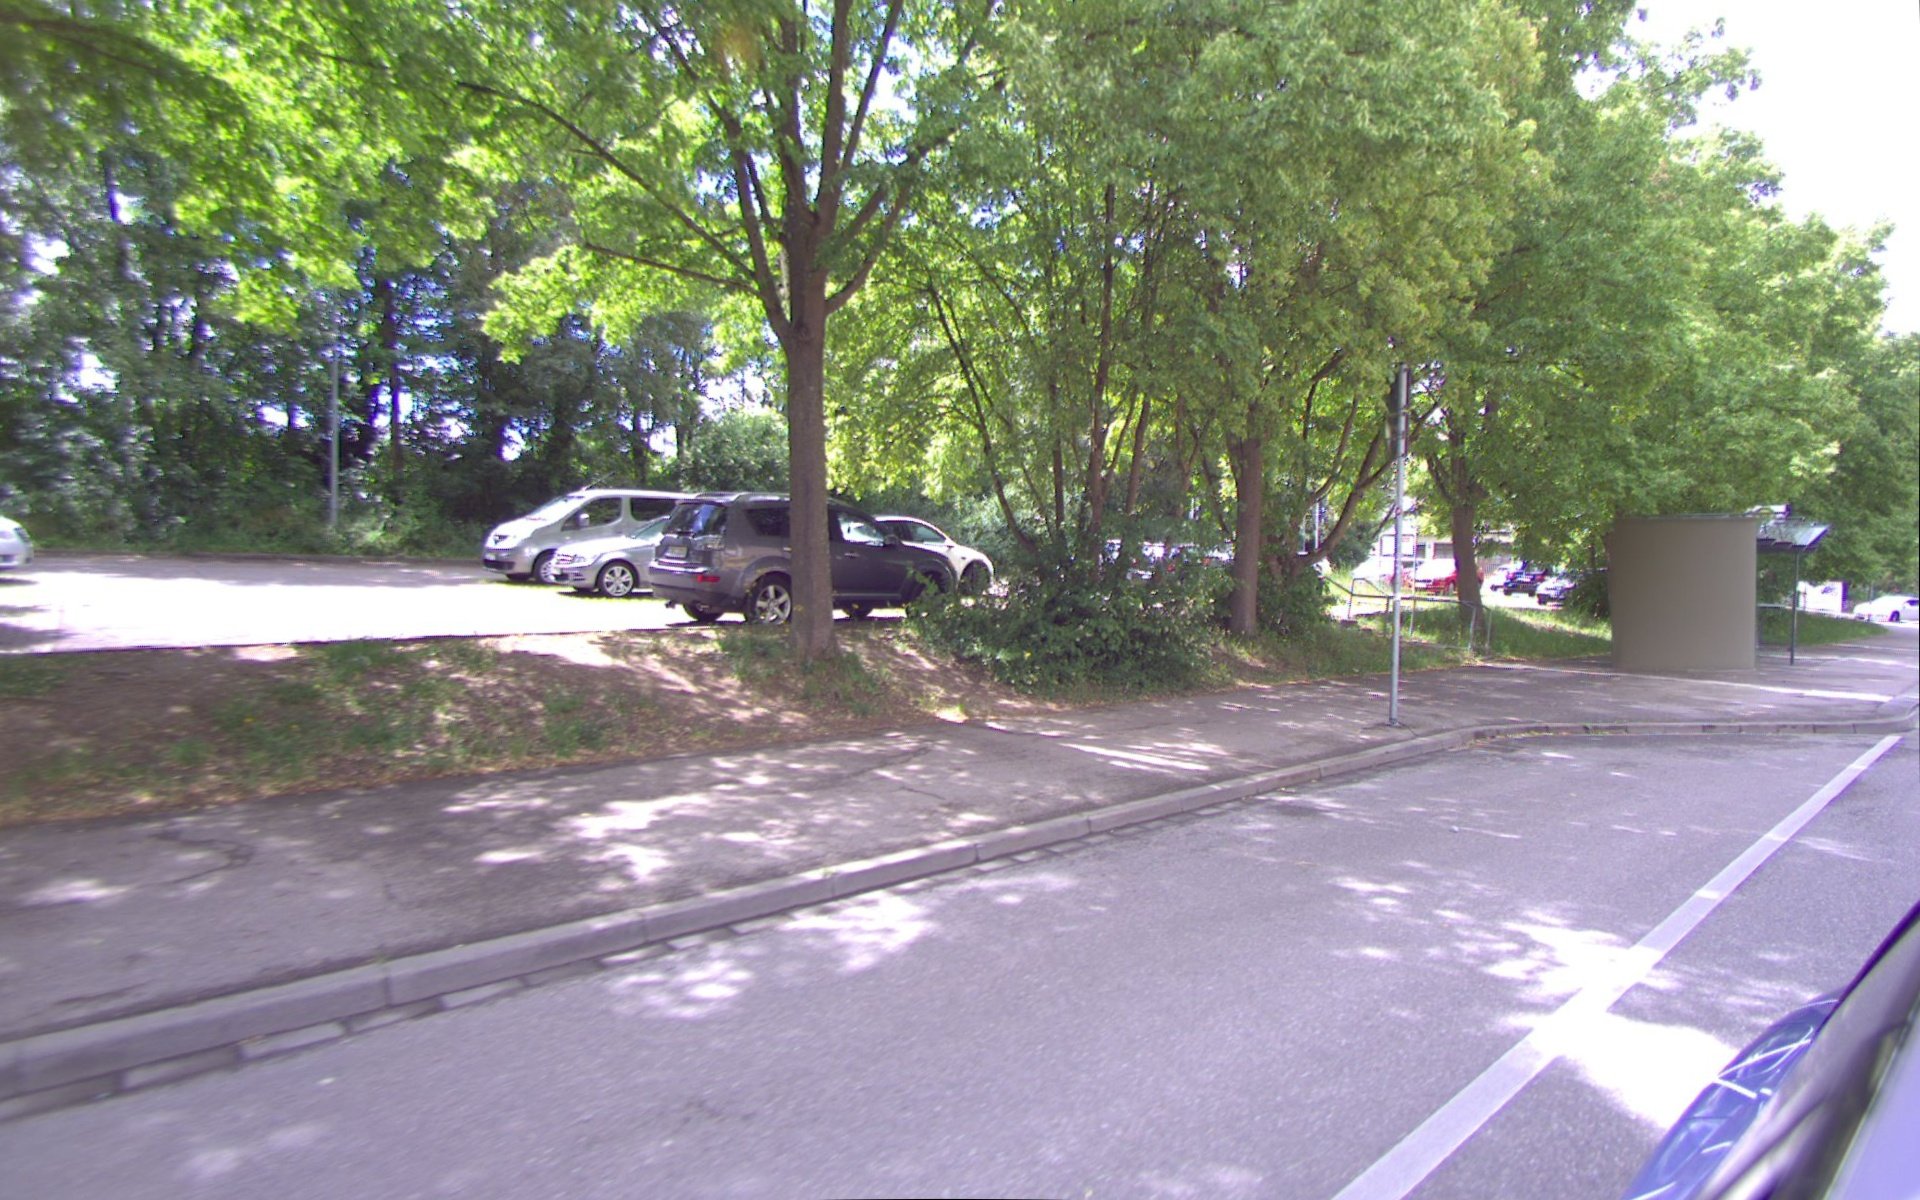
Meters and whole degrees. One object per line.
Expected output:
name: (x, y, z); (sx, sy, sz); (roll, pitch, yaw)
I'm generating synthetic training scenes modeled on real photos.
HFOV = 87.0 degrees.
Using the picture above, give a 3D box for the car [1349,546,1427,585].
car: (18.075, -1.443, 42.688); (3.600, 1.495, 1.634); (0, 4, -42)

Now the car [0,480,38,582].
car: (-14.243, -0.975, 12.944); (3.559, 1.333, 1.791); (0, 5, -41)

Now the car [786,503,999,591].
car: (-1.330, -1.070, 21.118); (4.353, 1.573, 1.474); (1, 5, -40)

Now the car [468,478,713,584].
car: (-7.064, -1.291, 19.582); (4.136, 1.811, 1.616); (0, 5, -42)

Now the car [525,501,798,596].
car: (-5.097, -0.870, 17.651); (4.278, 1.459, 1.616); (0, 5, -42)

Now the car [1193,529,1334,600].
car: (8.186, -0.997, 27.103); (4.192, 1.714, 1.691); (-3, 7, -43)

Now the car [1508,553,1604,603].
car: (20.552, -0.766, 34.835); (4.068, 1.532, 1.630); (0, 5, -42)

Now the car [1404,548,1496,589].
car: (19.889, -1.262, 40.981); (4.467, 1.495, 1.755); (0, 4, -42)

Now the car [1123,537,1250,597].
car: (6.460, -0.986, 28.695); (3.732, 1.509, 1.691); (-3, 7, -43)

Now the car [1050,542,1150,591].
car: (4.144, -1.016, 29.802); (2.813, 1.318, 1.410); (-3, 7, -43)

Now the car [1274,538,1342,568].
car: (17.269, -2.335, 50.132); (3.600, 1.344, 1.634); (0, 4, -42)

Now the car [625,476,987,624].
car: (-1.947, -0.606, 13.808); (4.643, 1.682, 1.849); (0, 1, -42)
